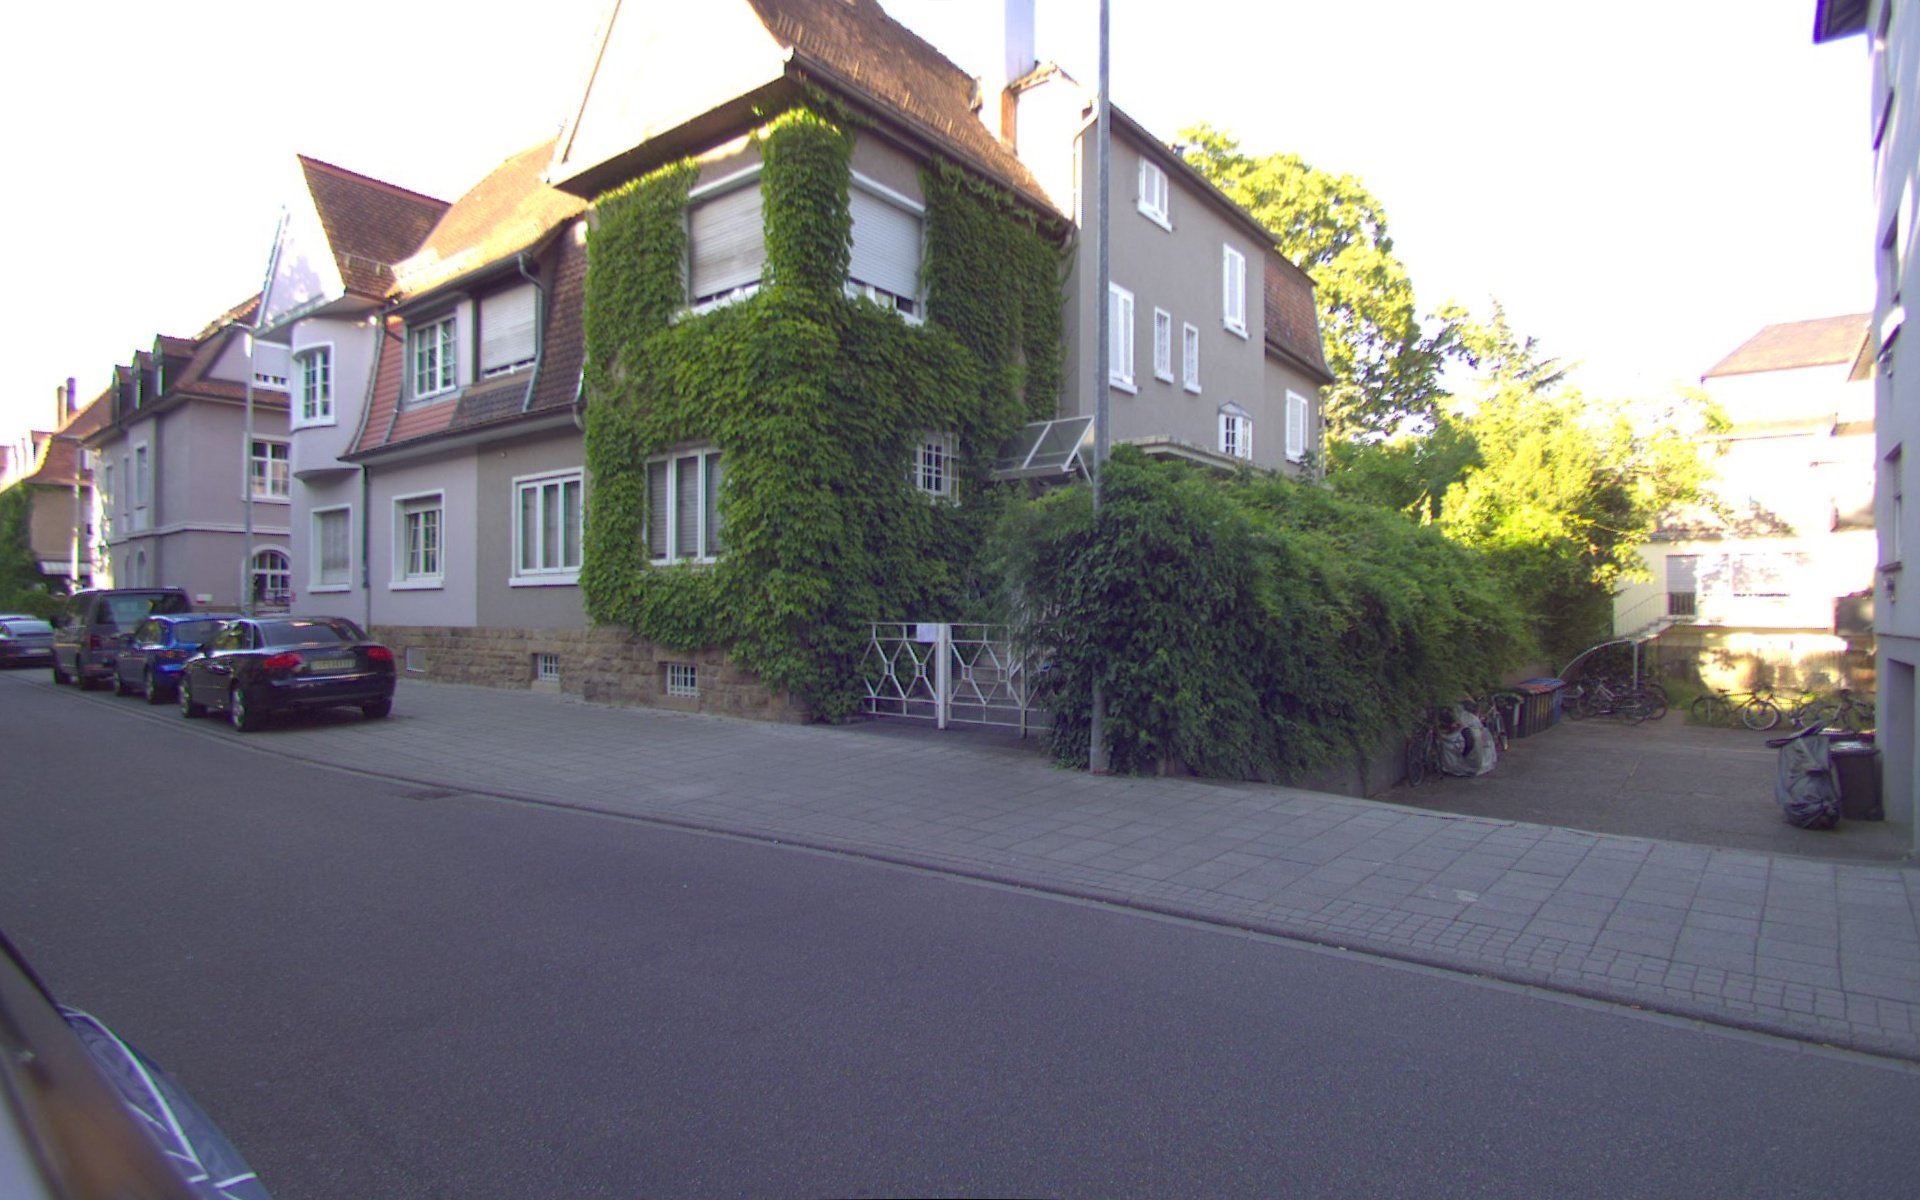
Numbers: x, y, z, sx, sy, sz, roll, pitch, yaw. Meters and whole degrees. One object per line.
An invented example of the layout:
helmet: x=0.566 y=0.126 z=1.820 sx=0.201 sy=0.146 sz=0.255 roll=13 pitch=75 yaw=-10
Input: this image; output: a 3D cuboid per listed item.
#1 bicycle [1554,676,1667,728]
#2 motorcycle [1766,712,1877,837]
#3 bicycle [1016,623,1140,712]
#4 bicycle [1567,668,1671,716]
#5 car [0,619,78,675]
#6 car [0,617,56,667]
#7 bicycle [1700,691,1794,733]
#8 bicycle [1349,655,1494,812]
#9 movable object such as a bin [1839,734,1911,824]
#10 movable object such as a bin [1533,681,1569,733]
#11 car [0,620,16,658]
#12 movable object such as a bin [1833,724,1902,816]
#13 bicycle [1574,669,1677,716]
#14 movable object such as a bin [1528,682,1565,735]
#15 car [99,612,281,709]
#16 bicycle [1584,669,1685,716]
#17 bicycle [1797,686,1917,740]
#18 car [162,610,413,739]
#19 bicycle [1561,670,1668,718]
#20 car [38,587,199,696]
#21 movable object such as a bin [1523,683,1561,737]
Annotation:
bicycle: x=16.232 y=2.532 z=25.303 sx=2.294 sy=1.142 sz=0.685 roll=-1 pitch=-4 yaw=42
motorcycle: x=10.701 y=2.120 z=12.625 sx=0.742 sy=1.305 sz=1.565 roll=-1 pitch=-2 yaw=30
bicycle: x=1.695 y=0.907 z=14.185 sx=0.476 sy=1.111 sz=2.172 roll=-1 pitch=-1 yaw=45
bicycle: x=18.050 y=2.511 z=27.768 sx=2.338 sy=1.186 sz=0.685 roll=-1 pitch=-4 yaw=42
car: x=-26.167 y=1.272 z=28.293 sx=4.063 sy=1.394 sz=1.906 roll=-1 pitch=1 yaw=44
car: x=-30.181 y=1.303 z=32.027 sx=4.061 sy=1.478 sz=1.907 roll=-1 pitch=1 yaw=42
bicycle: x=18.885 y=2.674 z=24.301 sx=1.754 sy=0.886 sz=0.558 roll=-1 pitch=-4 yaw=42
bicycle: x=6.818 y=1.788 z=14.752 sx=0.971 sy=1.907 sz=4.138 roll=-1 pitch=-3 yaw=38
movable object such as a bin: x=11.710 y=2.275 z=12.966 sx=0.611 sy=1.045 sz=0.532 roll=-1 pitch=-4 yaw=37
movable object such as a bin: x=13.641 y=2.456 z=23.348 sx=0.611 sy=1.123 sz=0.792 roll=-1 pitch=-4 yaw=37
car: x=-36.333 y=1.449 z=37.503 sx=3.676 sy=1.372 sz=1.641 roll=-1 pitch=1 yaw=42
movable object such as a bin: x=12.292 y=2.280 z=13.728 sx=0.611 sy=1.123 sz=0.792 roll=-1 pitch=-4 yaw=37
bicycle: x=18.608 y=2.560 z=28.336 sx=2.338 sy=1.186 sz=0.685 roll=-1 pitch=-4 yaw=42
movable object such as a bin: x=13.170 y=2.423 z=22.716 sx=0.611 sy=1.123 sz=0.792 roll=-1 pitch=-4 yaw=37
car: x=-13.643 y=0.986 z=17.843 sx=4.060 sy=1.457 sz=1.745 roll=-1 pitch=1 yaw=41
bicycle: x=19.192 y=2.611 z=28.830 sx=2.338 sy=1.186 sz=0.685 roll=-1 pitch=-4 yaw=42
bicycle: x=20.363 y=2.549 z=23.027 sx=2.005 sy=1.080 sz=0.558 roll=-1 pitch=-4 yaw=42
car: x=-9.432 y=0.914 z=14.051 sx=4.426 sy=1.457 sz=1.783 roll=-1 pitch=1 yaw=41
bicycle: x=17.499 y=2.488 z=27.116 sx=2.338 sy=1.142 sz=0.685 roll=-1 pitch=-4 yaw=42
car: x=-17.532 y=0.792 z=21.013 sx=4.610 sy=1.990 sz=1.819 roll=-1 pitch=1 yaw=41
movable object such as a bin: x=12.694 y=2.387 z=22.074 sx=0.611 sy=1.123 sz=0.792 roll=-1 pitch=-4 yaw=37
